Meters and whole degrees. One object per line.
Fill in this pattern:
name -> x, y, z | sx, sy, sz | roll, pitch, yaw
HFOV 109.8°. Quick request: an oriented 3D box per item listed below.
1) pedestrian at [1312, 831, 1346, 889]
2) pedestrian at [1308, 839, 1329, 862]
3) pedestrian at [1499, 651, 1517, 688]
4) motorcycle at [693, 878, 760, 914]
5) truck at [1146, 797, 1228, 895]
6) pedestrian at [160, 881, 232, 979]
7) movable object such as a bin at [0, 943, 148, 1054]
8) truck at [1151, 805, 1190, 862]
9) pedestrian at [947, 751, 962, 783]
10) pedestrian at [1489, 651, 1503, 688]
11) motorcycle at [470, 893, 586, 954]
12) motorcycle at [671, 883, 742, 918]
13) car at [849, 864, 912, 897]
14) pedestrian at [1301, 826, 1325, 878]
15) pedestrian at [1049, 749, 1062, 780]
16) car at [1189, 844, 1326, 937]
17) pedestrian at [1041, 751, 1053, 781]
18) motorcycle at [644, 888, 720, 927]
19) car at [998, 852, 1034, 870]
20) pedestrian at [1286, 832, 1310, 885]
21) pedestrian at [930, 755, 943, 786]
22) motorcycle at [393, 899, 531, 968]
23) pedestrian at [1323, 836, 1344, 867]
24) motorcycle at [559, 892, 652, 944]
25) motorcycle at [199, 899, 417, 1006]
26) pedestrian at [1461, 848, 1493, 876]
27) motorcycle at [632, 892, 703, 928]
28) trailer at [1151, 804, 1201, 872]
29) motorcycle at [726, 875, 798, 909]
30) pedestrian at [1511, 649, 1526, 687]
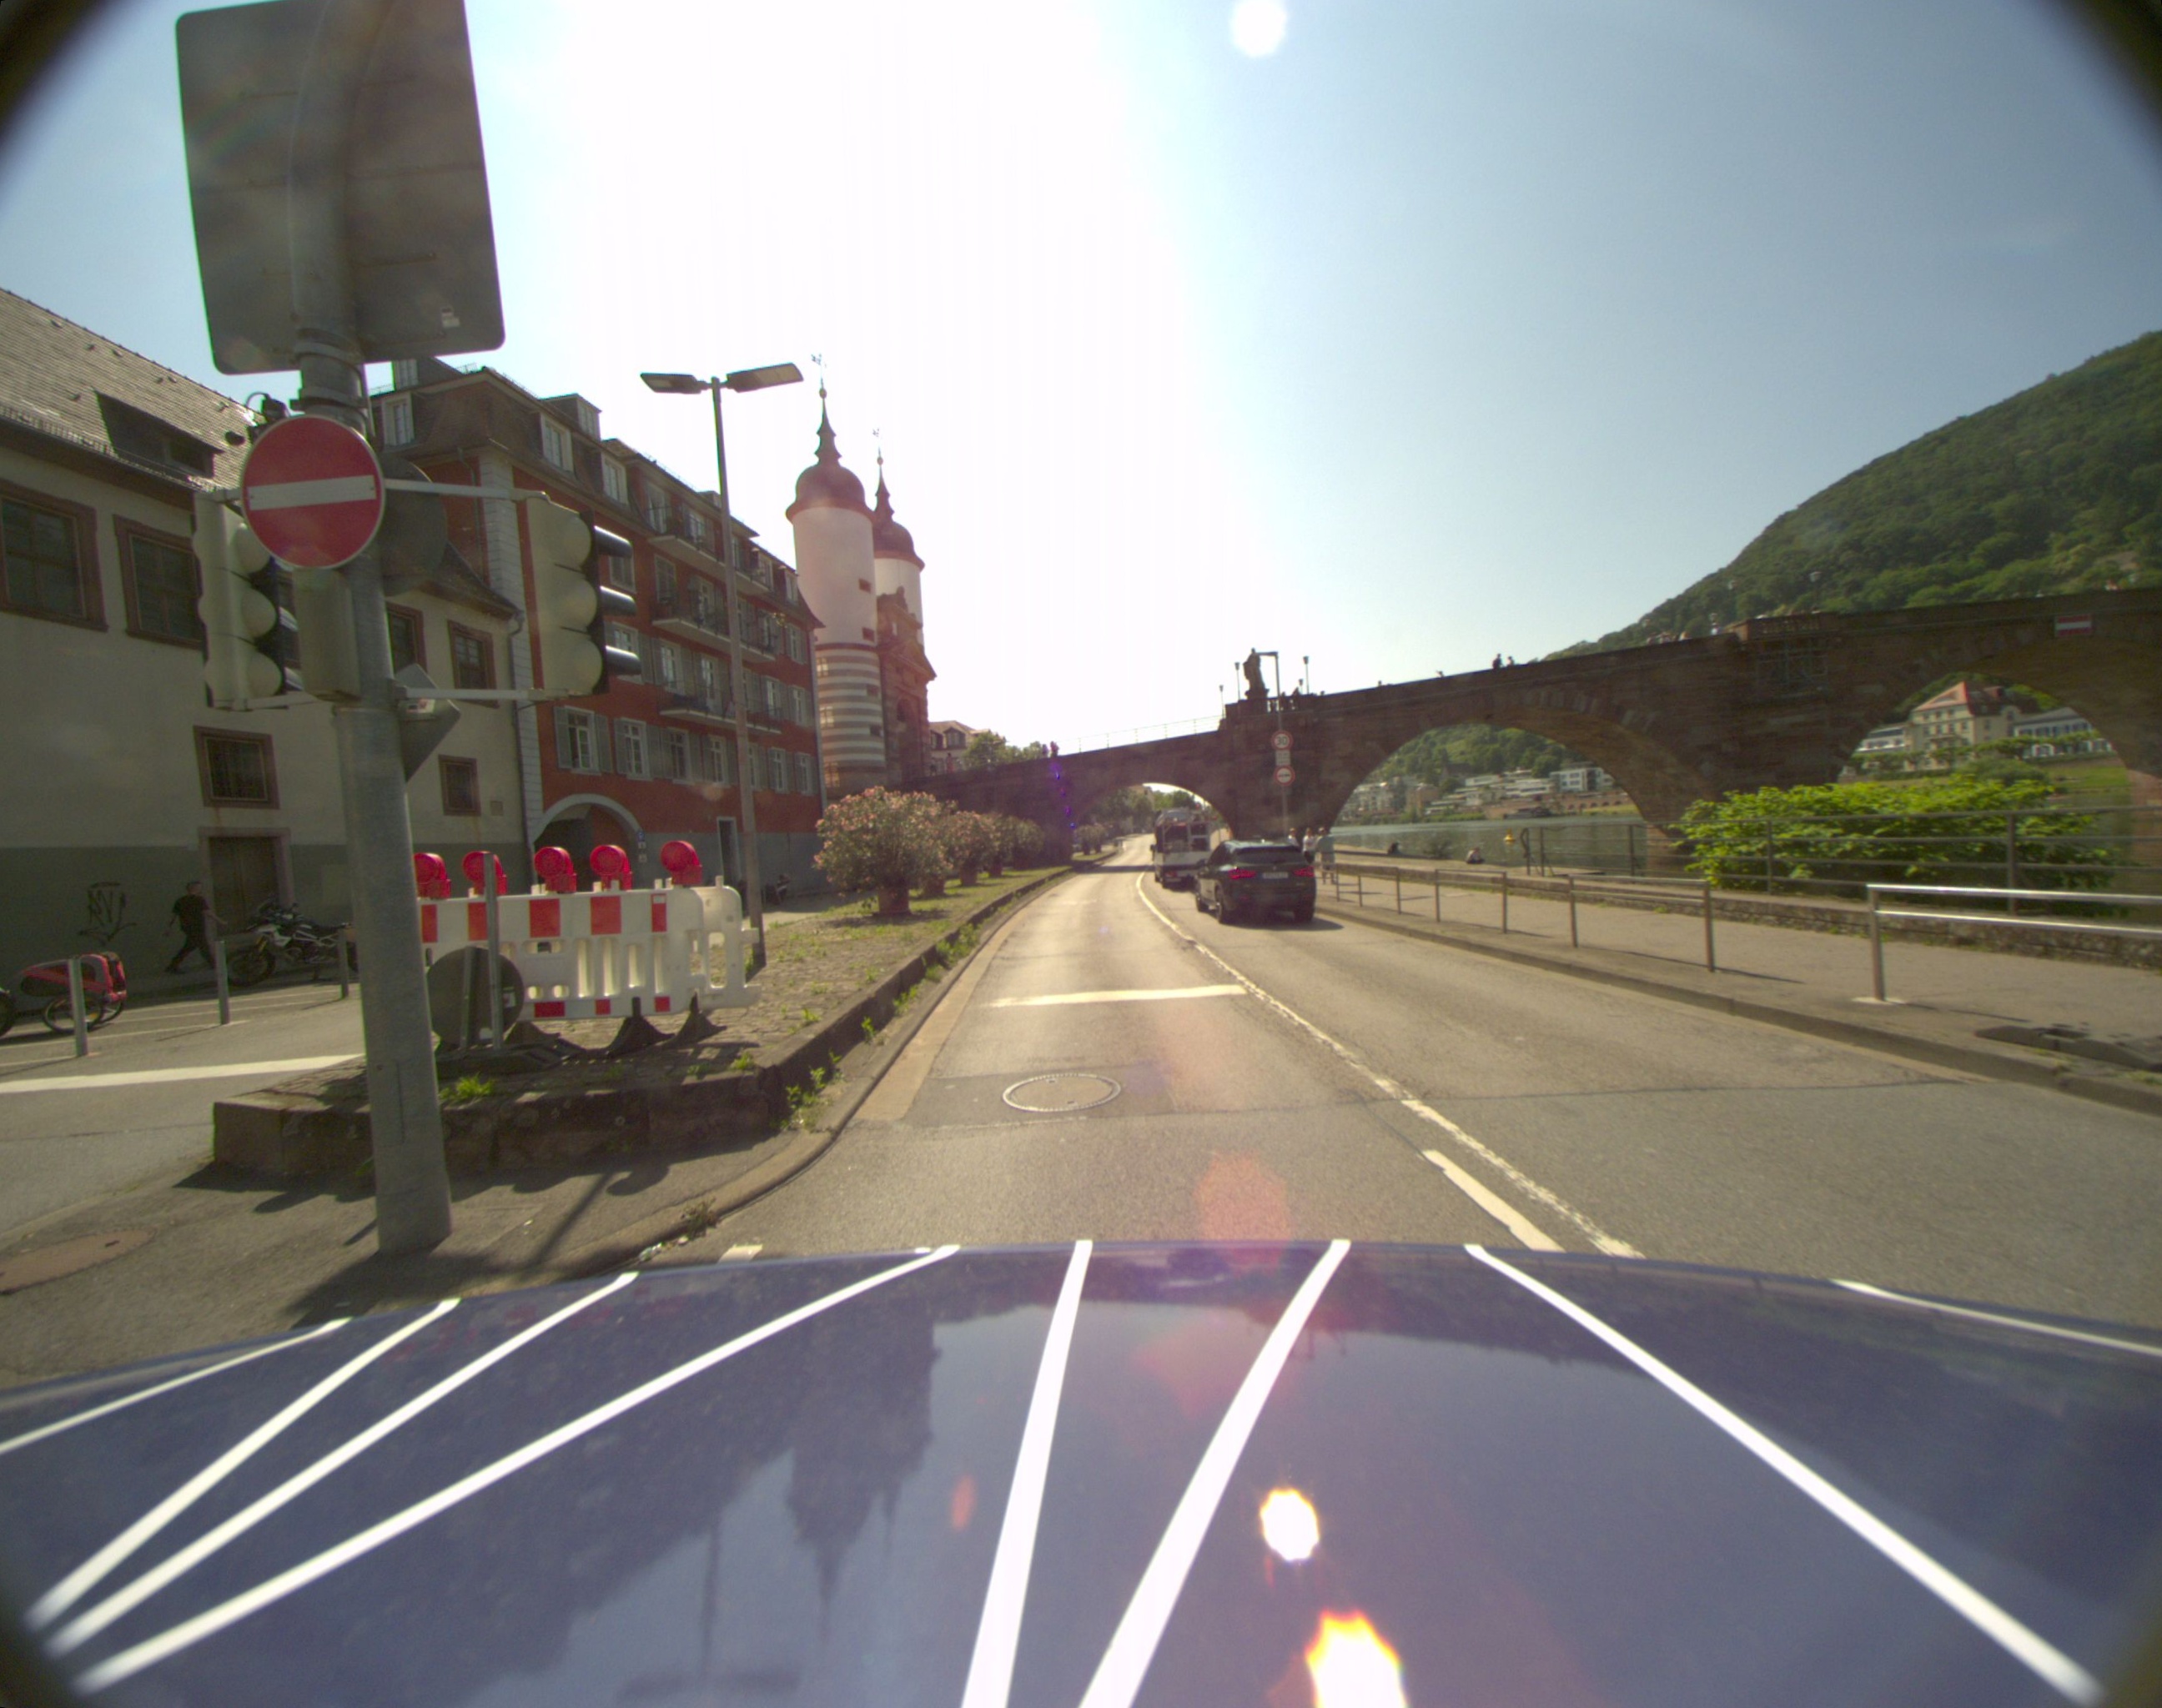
pedestrian -> 7.575, 0.185, 23.182 | 0.758, 1.713, 0.543 | -4, 1, -33
pedestrian -> 13.309, -0.192, 42.586 | 0.790, 1.222, 1.026 | -4, 0, 3
pedestrian -> 25.036, -10.809, 44.575 | 0.694, 2.003, 0.625 | -3, 3, 1
motorcycle -> -13.730, 1.618, 29.466 | 2.156, 1.226, 0.840 | -3, 1, -36
truck -> 3.923, -0.367, 29.551 | 2.381, 3.243, 7.610 | -2, 1, 3
pedestrian -> -17.135, 1.462, 14.722 | 0.496, 1.813, 0.619 | -2, 3, 2
movable object such as a bin -> -13.323, 1.781, 8.762 | 2.961, 1.104, 1.255 | -3, 1, -36
truck -> 6.226, -1.371, 52.945 | 2.529, 3.727, 6.248 | -1, 1, 7
pedestrian -> -8.420, -5.771, 50.585 | 0.640, 2.003, 0.707 | -2, 3, 8
pedestrian -> 24.401, -10.850, 44.650 | 0.467, 2.003, 0.639 | -2, 3, 1
motorcycle -> -13.516, 1.678, 18.665 | 2.201, 1.260, 0.627 | -3, 1, -31
motorcycle -> -13.689, 1.678, 27.842 | 2.202, 1.070, 0.627 | -4, 1, -39
car -> -11.170, 1.458, 42.626 | 1.674, 1.533, 3.814 | -4, 1, 14
pedestrian -> 8.243, -0.081, 26.957 | 0.543, 1.782, 0.823 | -3, 1, 31
pedestrian -> -1.743, -6.109, 51.861 | 0.640, 2.003, 0.707 | -2, 3, 8
car -> 3.616, 0.676, 16.416 | 1.867, 1.671, 4.453 | -2, 0, 0
pedestrian -> -2.338, -6.111, 52.687 | 0.640, 2.003, 0.707 | -2, 3, 8
motorcycle -> -13.841, 1.825, 26.383 | 2.202, 1.141, 0.627 | -4, 1, -39
car -> -5.776, 0.629, 67.992 | 1.720, 1.403, 3.886 | -1, 2, 18
pedestrian -> 7.502, 0.137, 26.266 | 0.520, 1.782, 0.823 | -3, 1, 31
pedestrian -> -9.746, -5.622, 51.138 | 0.579, 2.003, 0.707 | -2, 3, 8
motorcycle -> -13.705, 1.732, 16.916 | 2.239, 1.245, 0.627 | -3, 1, -31
pedestrian -> 13.814, -0.160, 41.578 | 0.790, 1.641, 0.774 | -4, 1, 3
motorcycle -> -13.653, 1.817, 21.899 | 2.186, 1.260, 0.781 | -3, 1, -31
motorcycle -> -13.689, 1.682, 13.616 | 2.501, 1.524, 1.051 | -3, 1, -33
pedestrian -> 17.218, 0.339, 33.039 | 0.967, 1.124, 0.831 | -3, 1, 10
motorcycle -> -13.554, 1.823, 24.953 | 1.935, 0.981, 0.546 | -4, 1, -39
trailer -> 5.718, -1.043, 47.256 | 2.529, 3.623, 11.532 | -2, 2, 5
motorcycle -> -13.179, 1.540, 31.424 | 2.547, 1.226, 0.840 | -3, 1, -36
pedestrian -> 25.684, -10.904, 44.574 | 0.467, 2.003, 0.639 | -2, 3, 1
